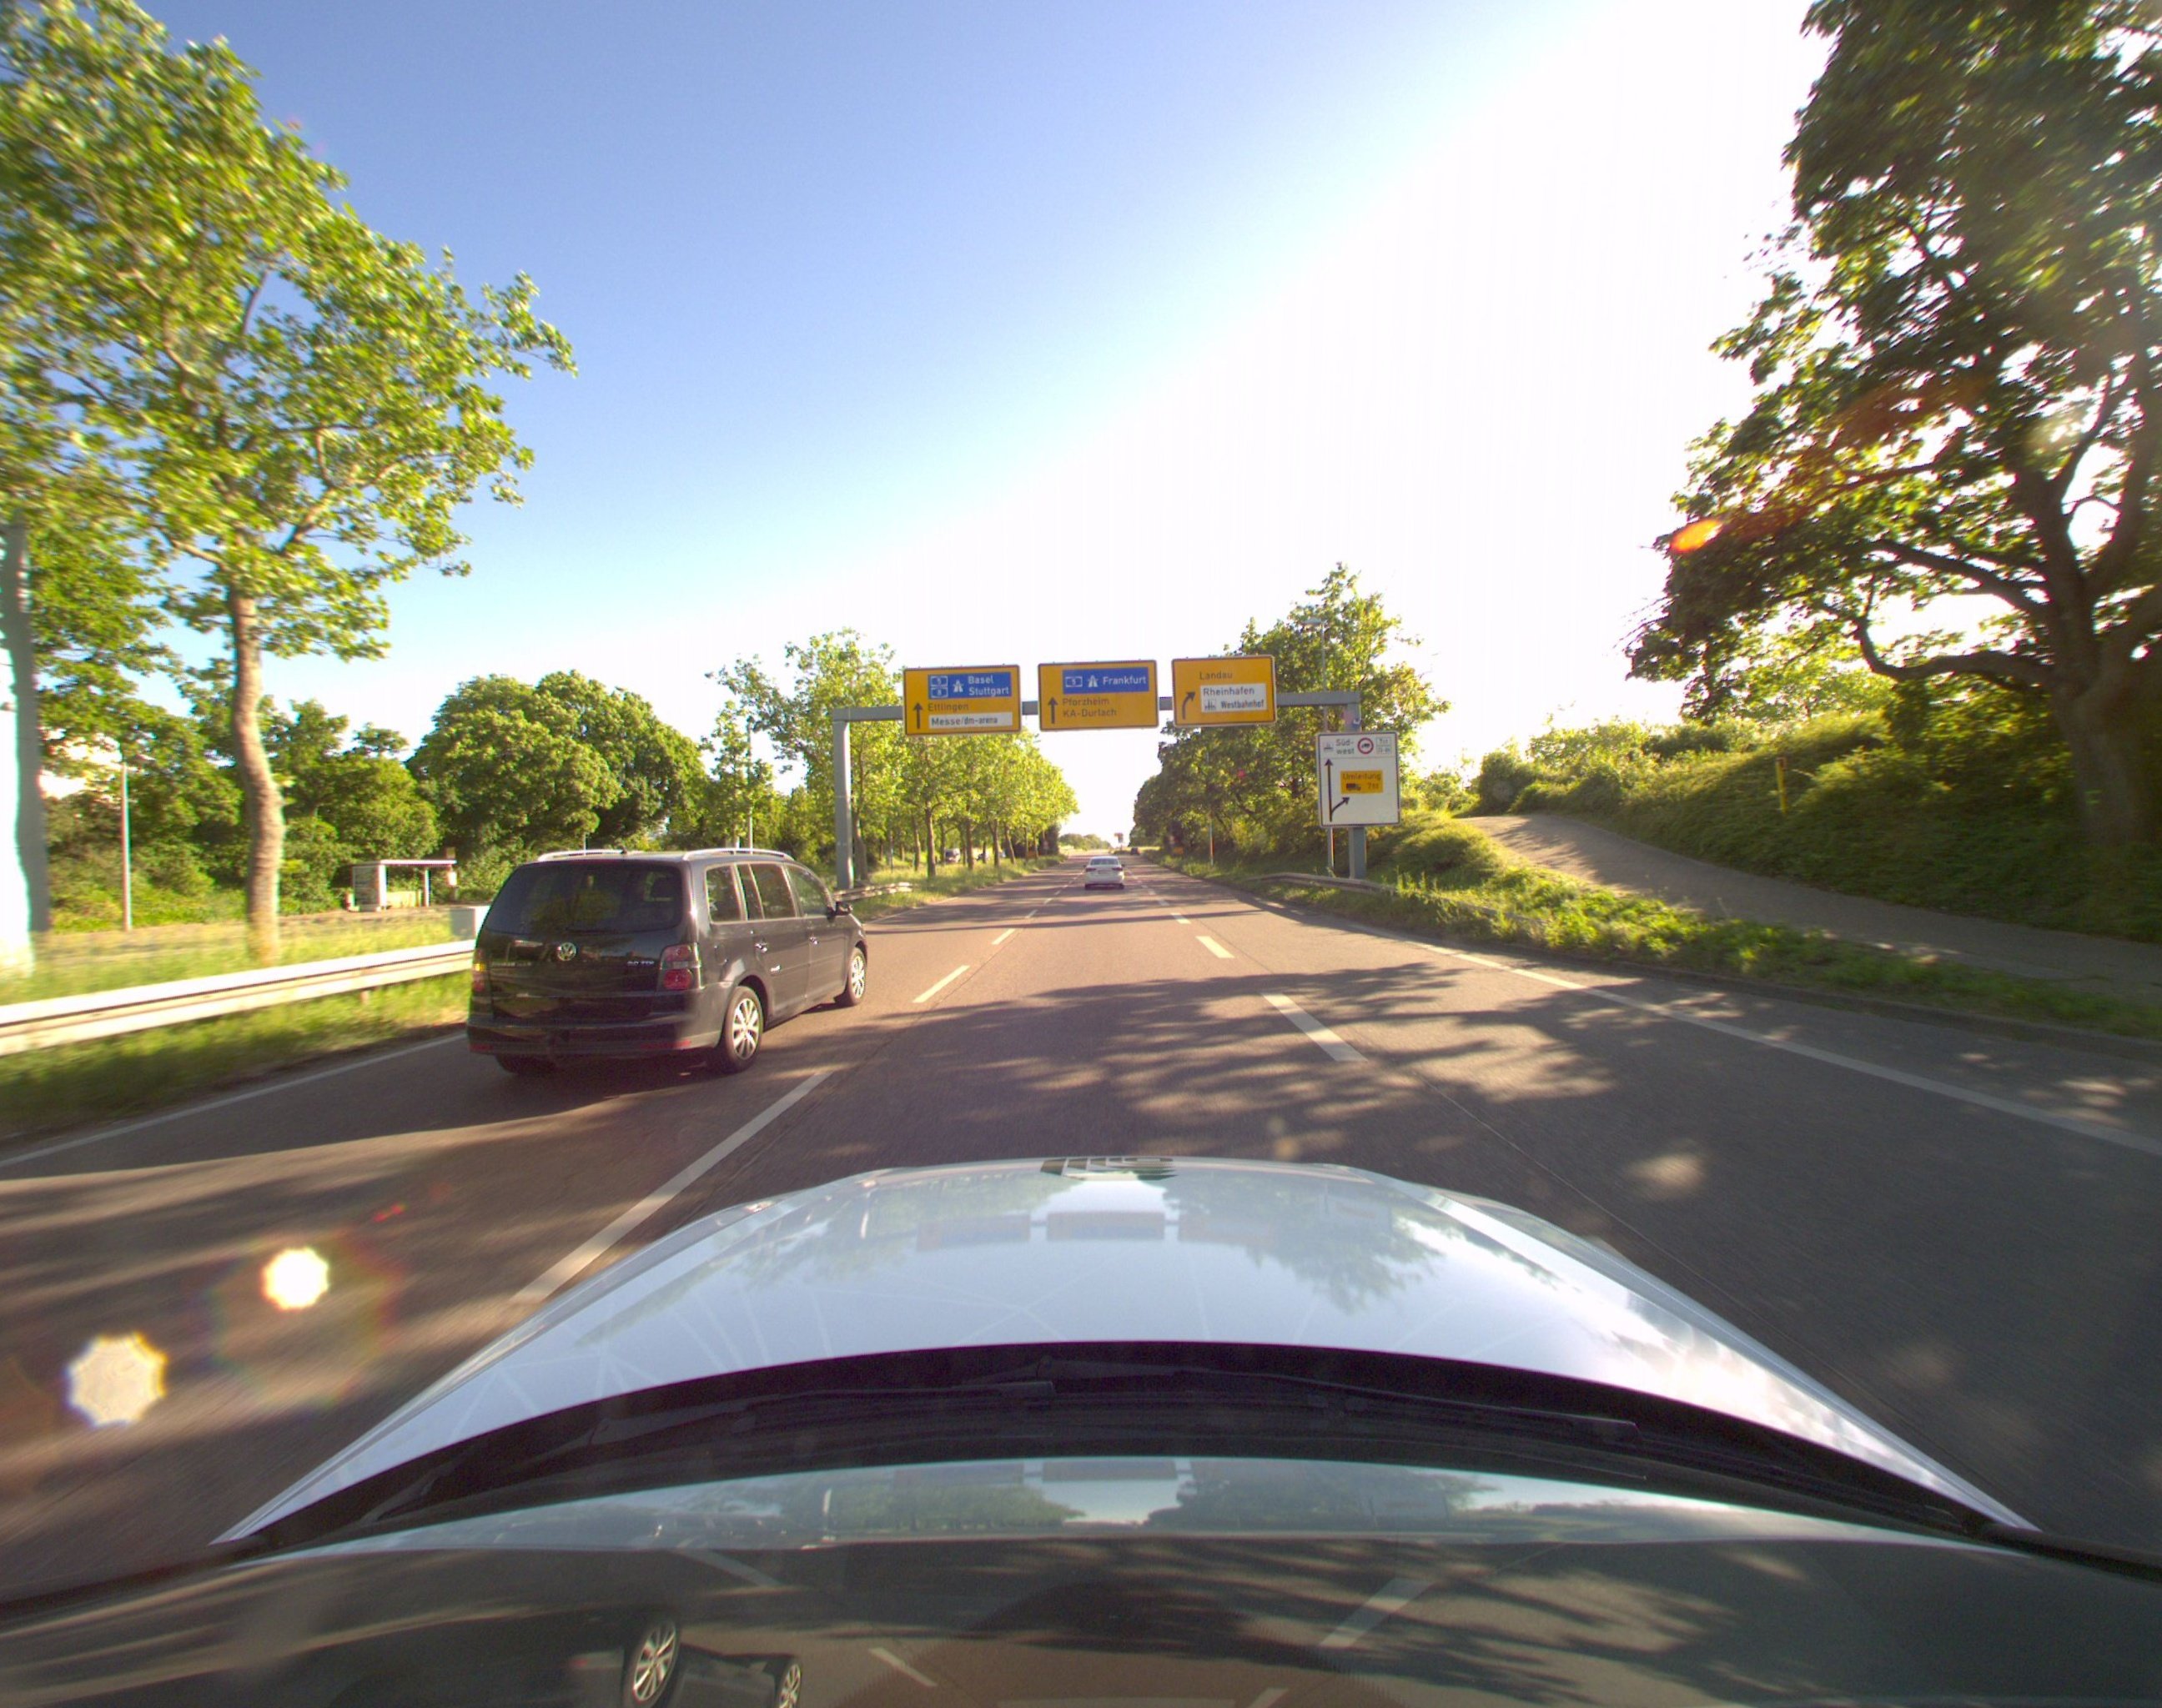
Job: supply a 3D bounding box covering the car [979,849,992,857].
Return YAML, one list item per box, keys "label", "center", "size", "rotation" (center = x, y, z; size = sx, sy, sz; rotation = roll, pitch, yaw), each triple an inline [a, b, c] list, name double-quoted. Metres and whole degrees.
- label: "car"
  center: [-17.926, -0.196, 152.555]
  size: [1.761, 1.464, 4.368]
  rotation: [-2, 0, 2]

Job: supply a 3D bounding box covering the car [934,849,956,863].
- label: "car"
  center: [-20.643, 0.292, 123.965]
  size: [2.126, 1.901, 5.744]
  rotation: [-2, 0, 2]

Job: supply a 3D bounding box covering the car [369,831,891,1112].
- label: "car"
  center: [-3.247, 0.698, 7.276]
  size: [1.761, 1.644, 4.926]
  rotation: [-1, 0, 2]

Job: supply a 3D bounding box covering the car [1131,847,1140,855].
- label: "car"
  center: [10.974, -0.590, 164.123]
  size: [1.760, 1.464, 4.370]
  rotation: [-2, 0, 3]

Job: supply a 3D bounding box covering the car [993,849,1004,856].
- label: "car"
  center: [-17.583, -0.305, 174.425]
  size: [1.761, 1.464, 4.368]
  rotation: [-2, 0, 2]

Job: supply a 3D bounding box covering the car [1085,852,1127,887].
- label: "car"
  center: [1.156, 0.665, 37.660]
  size: [1.761, 1.464, 4.368]
  rotation: [-2, 0, 2]
